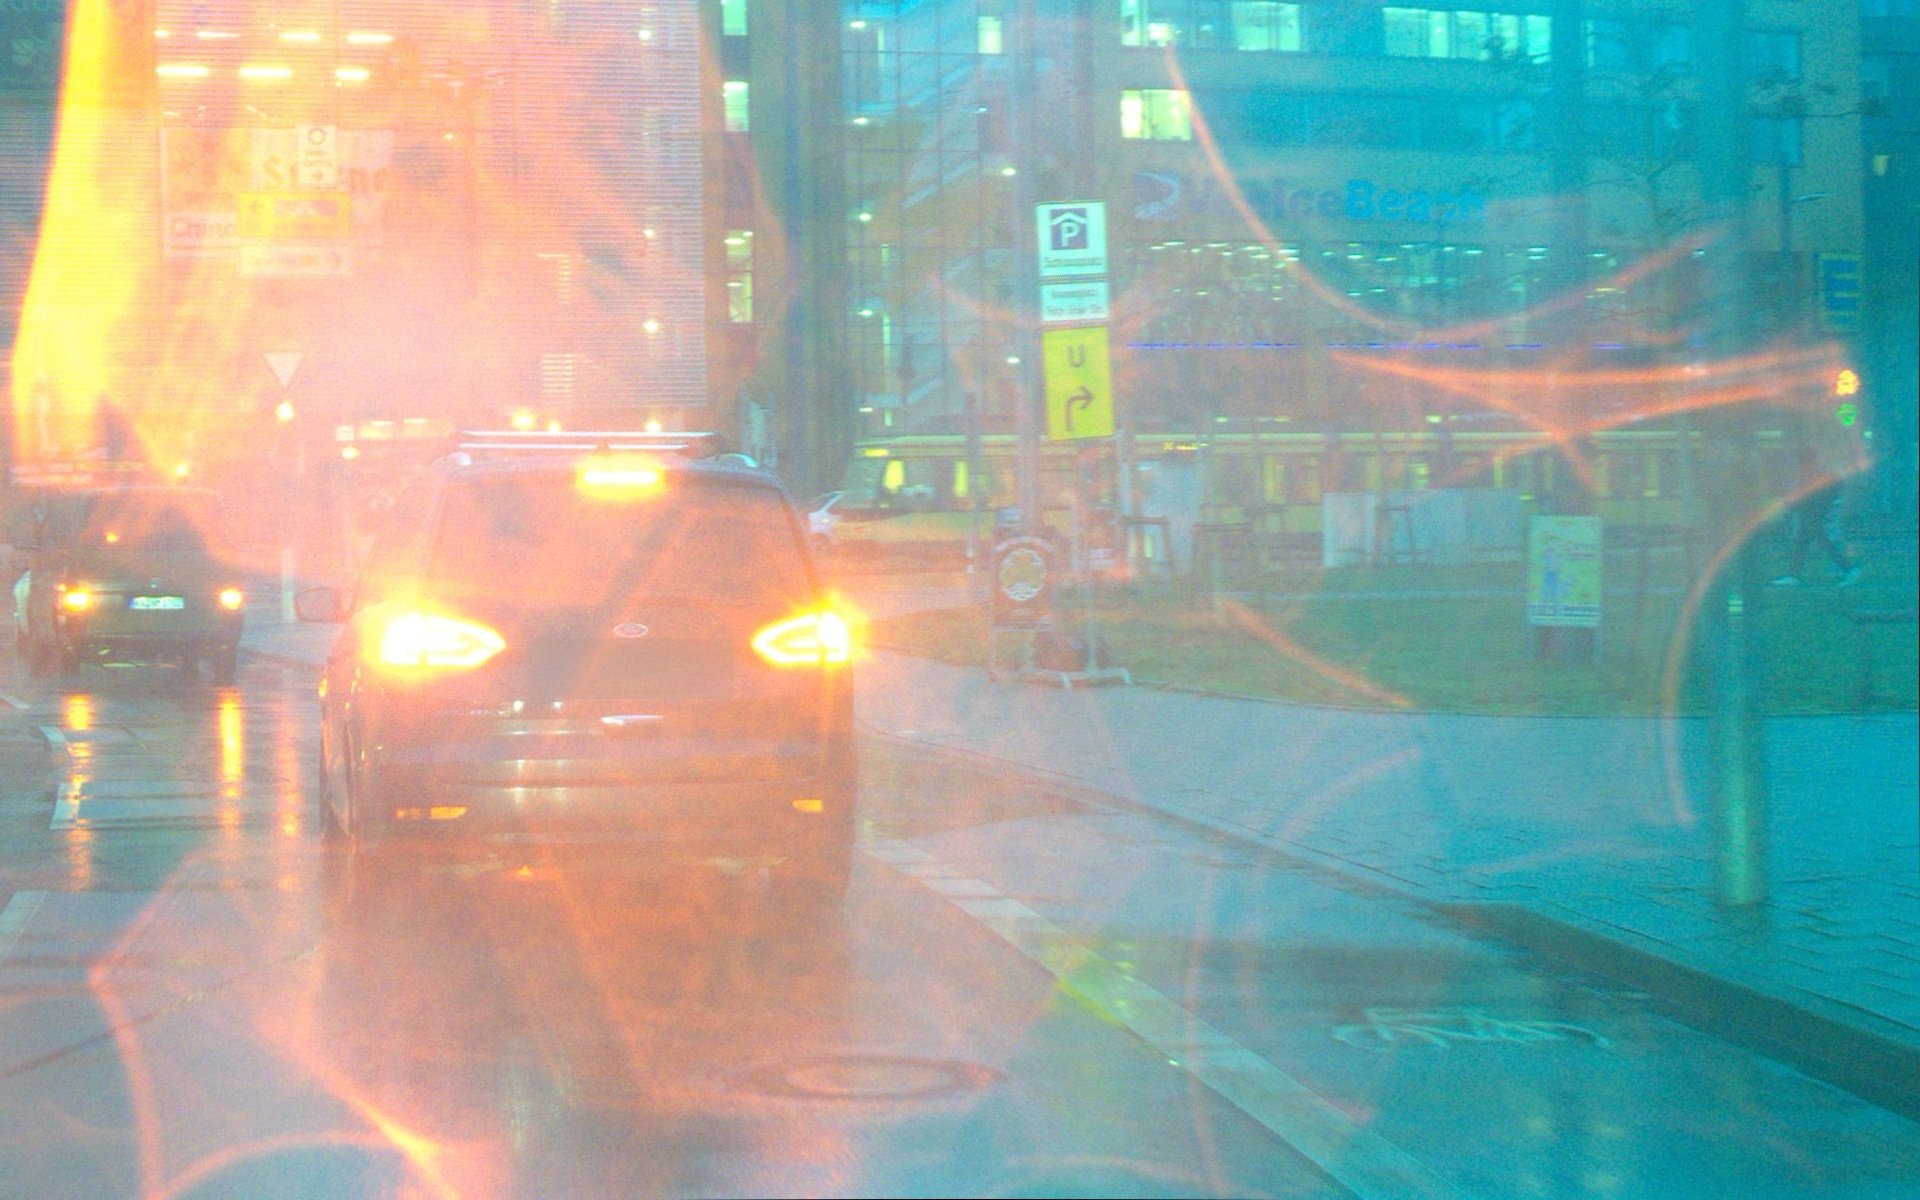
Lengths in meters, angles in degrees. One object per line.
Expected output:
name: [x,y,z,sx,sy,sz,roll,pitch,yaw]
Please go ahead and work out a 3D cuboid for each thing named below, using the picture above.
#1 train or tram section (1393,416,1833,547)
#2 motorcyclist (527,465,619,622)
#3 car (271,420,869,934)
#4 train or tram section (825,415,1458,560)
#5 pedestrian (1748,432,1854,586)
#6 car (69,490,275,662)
train or tram section: [17.188,-3.136,89.758,12.957,3.249,2.337,-2,2,-31]
motorcyclist: [-3.837,-0.567,34.134,0.868,1.529,1.108,-1,1,-6]
car: [-1.731,0.230,13.859,1.734,1.732,4.248,1,1,-15]
train or tram section: [4.656,-2.767,82.350,16.605,3.249,2.337,-2,2,-31]
pedestrian: [10.736,-1.159,43.923,1.170,1.917,0.898,2,1,7]
car: [-8.231,-0.267,35.721,1.635,1.691,3.672,0,1,-20]
